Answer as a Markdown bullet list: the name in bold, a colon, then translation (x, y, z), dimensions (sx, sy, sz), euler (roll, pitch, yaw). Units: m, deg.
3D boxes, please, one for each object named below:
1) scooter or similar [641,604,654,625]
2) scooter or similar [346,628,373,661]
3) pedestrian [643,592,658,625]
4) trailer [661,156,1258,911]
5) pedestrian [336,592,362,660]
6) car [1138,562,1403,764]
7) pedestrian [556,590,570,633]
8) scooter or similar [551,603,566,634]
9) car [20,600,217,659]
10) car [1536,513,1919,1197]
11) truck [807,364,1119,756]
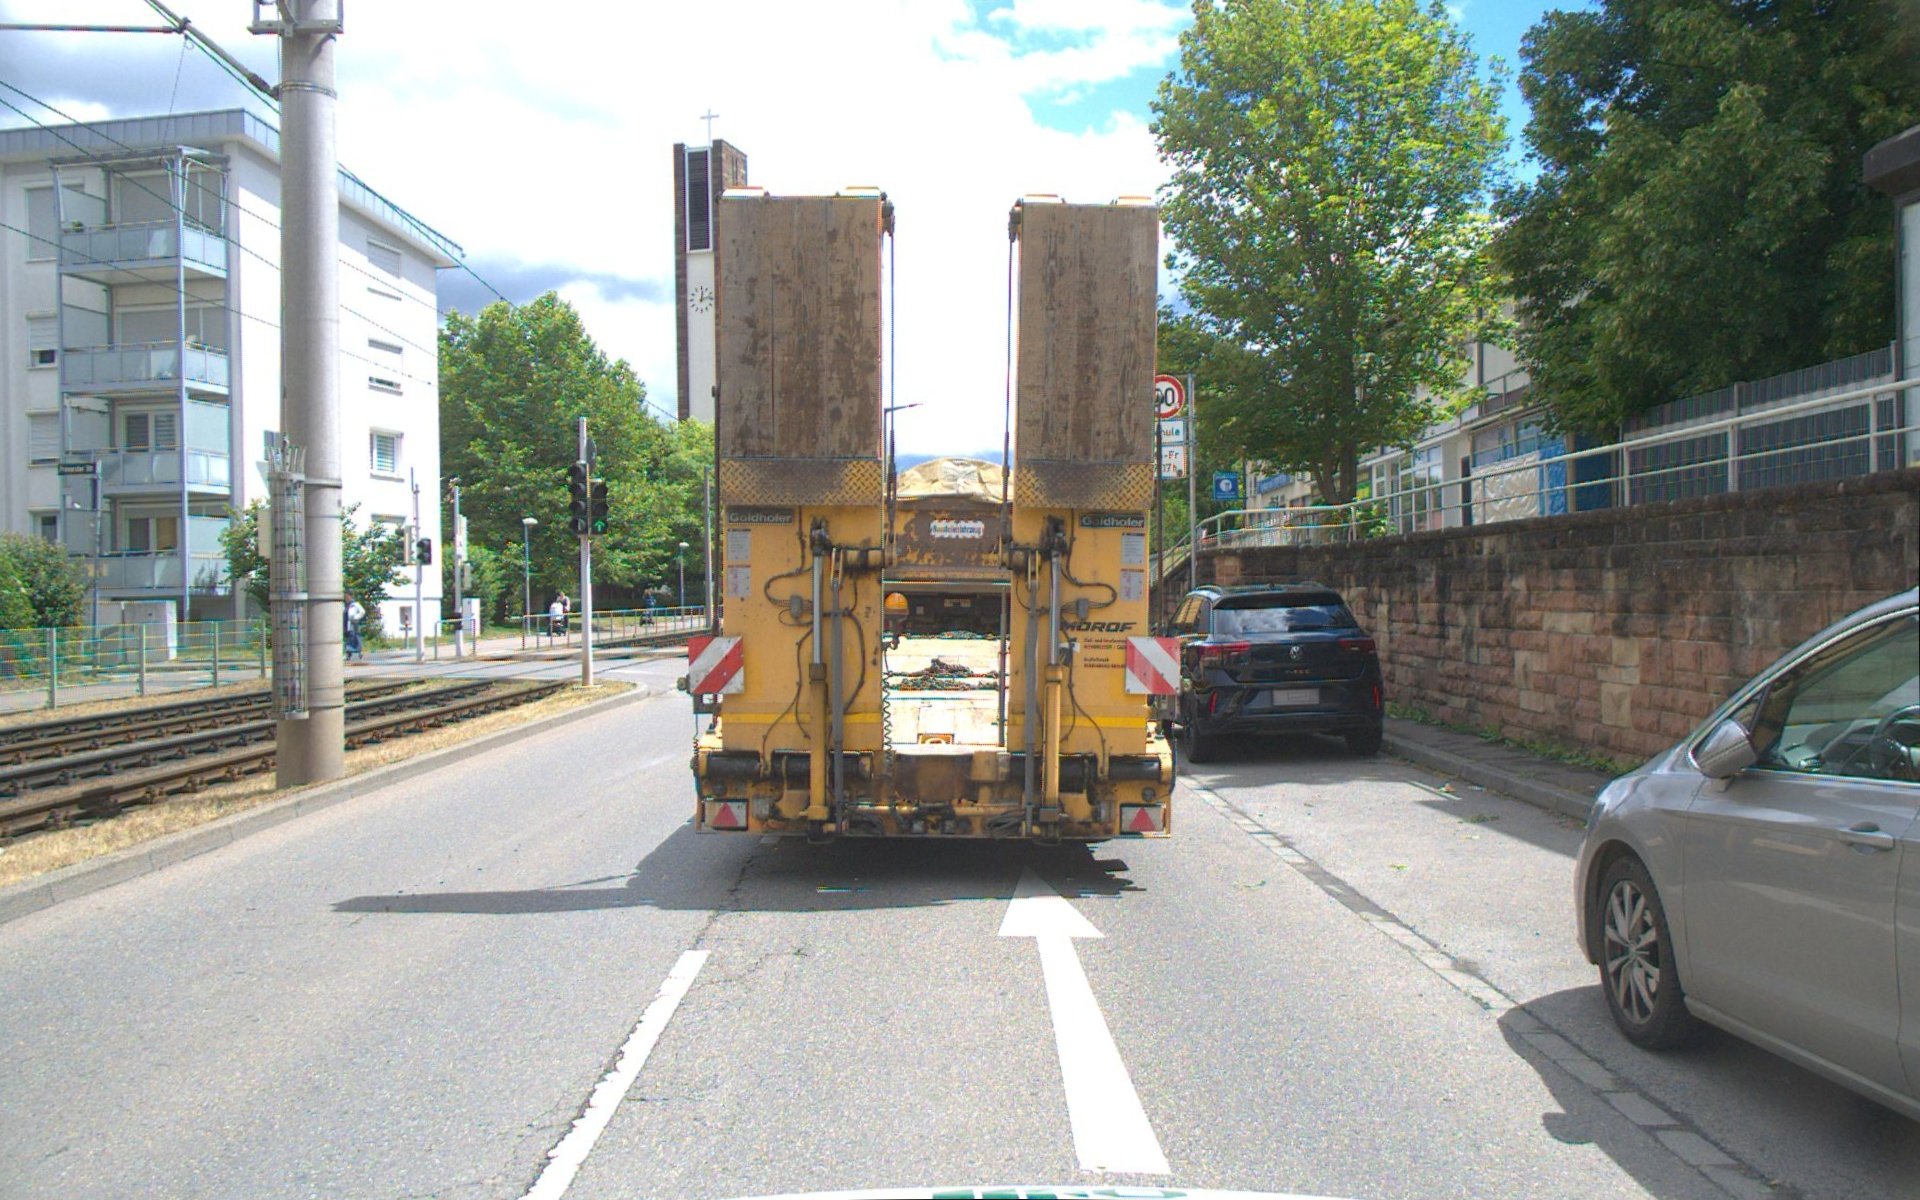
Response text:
- **scooter or similar**: translation (-14.388, 0.665, 76.136), dimensions (0.495, 0.988, 0.645), euler (1, 0, -2)
- **scooter or similar**: translation (-14.121, 1.044, 38.887), dimensions (0.428, 0.760, 0.475), euler (0, 0, 4)
- **pedestrian**: translation (-14.377, 0.394, 76.788), dimensions (0.552, 1.540, 0.645), euler (1, 0, -2)
- **trailer**: translation (0.009, -0.356, 12.464), dimensions (2.885, 3.664, 8.683), euler (-1, 0, 0)
- **pedestrian**: translation (-14.499, 0.607, 39.252), dimensions (0.428, 1.608, 0.475), euler (0, 0, 4)
- **car**: translation (2.888, 0.535, 16.238), dimensions (1.813, 1.668, 4.000), euler (-2, 0, 0)
- **pedestrian**: translation (-14.349, 0.414, 59.799), dimensions (0.341, 1.564, 0.557), euler (-1, 0, 3)
- **scooter or similar**: translation (-14.373, 0.657, 59.167), dimensions (0.331, 1.076, 0.688), euler (-1, 0, 2)
- **car**: translation (-20.620, 0.713, 40.599), dimensions (3.902, 1.369, 1.903), euler (-1, 0, 7)
- **car**: translation (3.160, 0.586, 4.221), dimensions (1.754, 1.646, 4.247), euler (-2, 0, -2)
- **truck**: translation (0.030, -0.389, 17.859), dimensions (2.882, 3.635, 4.877), euler (0, 0, 0)
